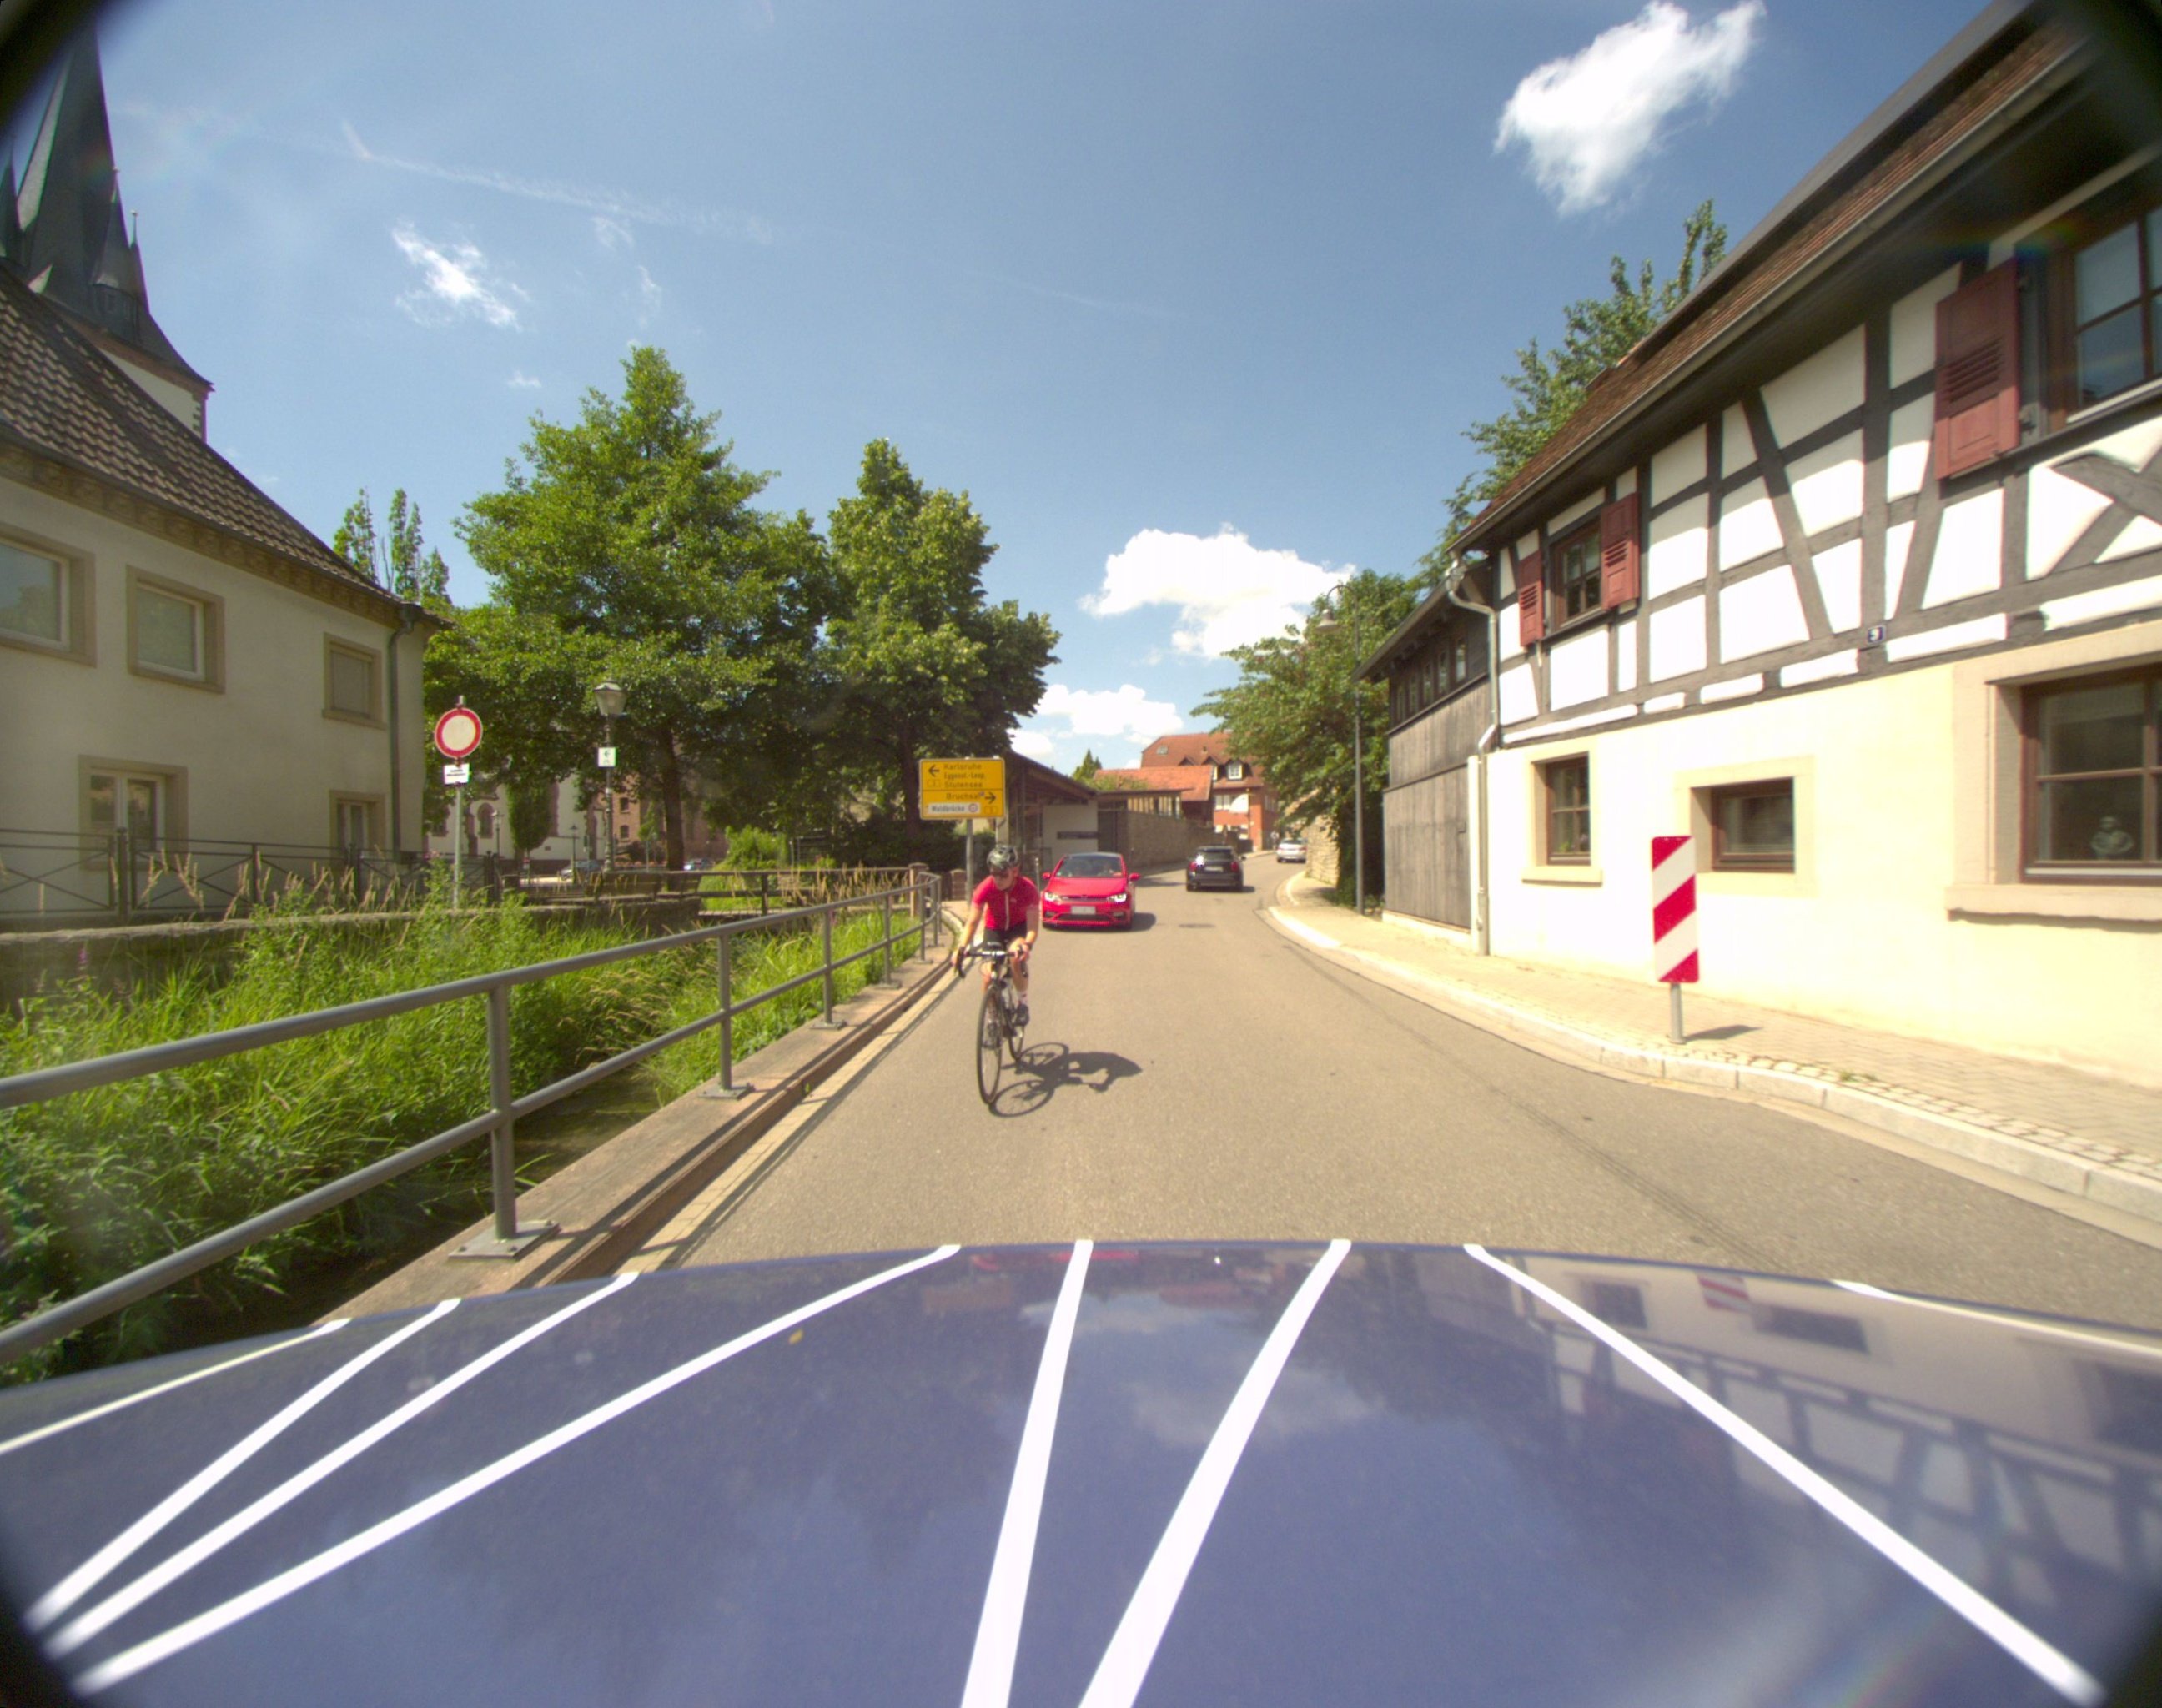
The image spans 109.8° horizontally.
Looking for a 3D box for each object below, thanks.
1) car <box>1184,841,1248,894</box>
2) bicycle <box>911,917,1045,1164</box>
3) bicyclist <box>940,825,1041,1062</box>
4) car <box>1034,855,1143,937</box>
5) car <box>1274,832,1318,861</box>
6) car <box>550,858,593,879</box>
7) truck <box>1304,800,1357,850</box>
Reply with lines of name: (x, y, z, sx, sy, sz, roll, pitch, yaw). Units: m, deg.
car: (4.517, 0.352, 24.962, 1.701, 1.458, 4.438, 0, 3, 15)
bicycle: (-0.569, 1.026, 4.859, 0.531, 1.070, 2.054, 0, 0, 1)
bicyclist: (-0.554, 0.529, 4.864, 0.532, 1.396, 0.755, 0, 1, 1)
car: (0.260, 0.729, 14.885, 1.668, 1.344, 3.496, -1, 1, 8)
car: (12.822, -0.491, 45.098, 1.897, 1.492, 4.619, 1, 4, 24)
car: (-38.487, 1.062, 57.490, 1.672, 1.496, 3.805, -2, 1, -17)
truck: (20.132, -2.280, 60.873, 2.413, 3.637, 9.582, 0, 2, 28)
